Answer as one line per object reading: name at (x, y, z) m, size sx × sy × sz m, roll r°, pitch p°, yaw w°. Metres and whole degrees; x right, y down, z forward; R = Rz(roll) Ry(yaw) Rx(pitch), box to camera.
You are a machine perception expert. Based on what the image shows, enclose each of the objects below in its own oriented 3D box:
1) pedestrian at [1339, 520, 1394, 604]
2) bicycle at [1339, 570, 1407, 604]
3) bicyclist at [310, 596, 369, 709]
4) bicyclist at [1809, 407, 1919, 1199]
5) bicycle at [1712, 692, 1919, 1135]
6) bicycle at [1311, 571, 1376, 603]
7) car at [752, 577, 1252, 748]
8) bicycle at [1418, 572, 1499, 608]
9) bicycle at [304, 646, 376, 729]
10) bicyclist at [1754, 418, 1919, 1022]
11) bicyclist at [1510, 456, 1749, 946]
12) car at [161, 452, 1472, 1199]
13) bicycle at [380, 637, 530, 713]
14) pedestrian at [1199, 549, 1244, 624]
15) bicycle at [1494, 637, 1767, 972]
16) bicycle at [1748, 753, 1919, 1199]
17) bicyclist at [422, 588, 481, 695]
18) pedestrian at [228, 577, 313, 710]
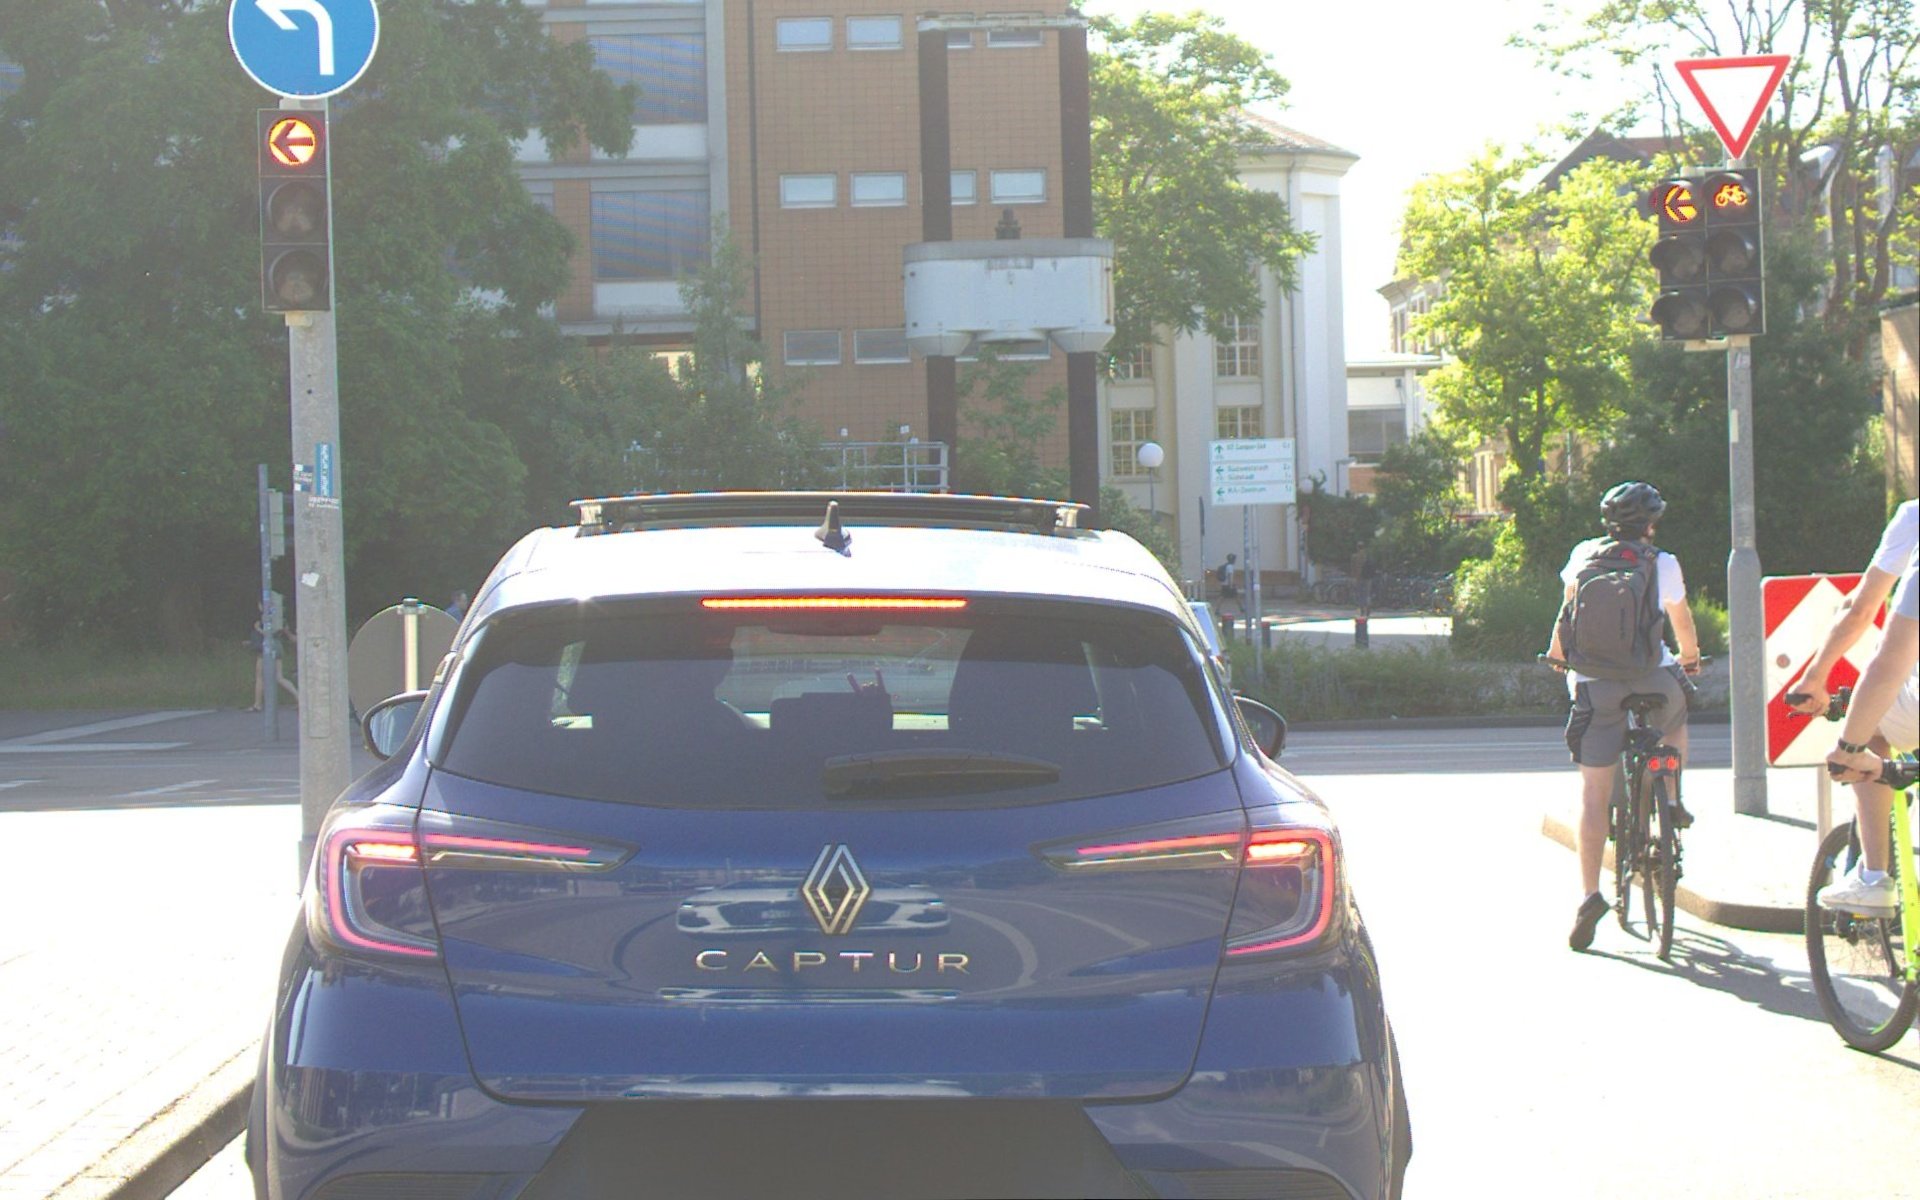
pedestrian at (9.895, -0.932, 83.686) m, size 1.156 × 2.007 × 1.164 m, roll -1°, pitch 1°, yaw 0°
bicycle at (11.398, -0.352, 94.848) m, size 1.771 × 0.895 × 0.765 m, roll -1°, pitch 1°, yaw 0°
bicyclist at (-7.919, 0.673, 43.869) m, size 0.647 × 1.407 × 0.639 m, roll -1°, pitch -2°, yaw -16°
bicyclist at (2.281, 0.437, 7.199) m, size 0.740 × 1.668 × 0.866 m, roll -1°, pitch 1°, yaw -2°
bicycle at (2.674, 0.822, 9.618) m, size 0.671 × 1.047 × 1.844 m, roll 1°, pitch 1°, yaw -2°
bicycle at (11.059, -0.383, 99.212) m, size 1.771 × 0.890 × 0.765 m, roll -1°, pitch 1°, yaw 0°
car at (0.478, 0.619, 34.858) m, size 4.865 × 1.588 × 1.938 m, roll -1°, pitch 1°, yaw 7°
bicycle at (12.029, -0.238, 83.046) m, size 1.770 × 0.820 × 0.766 m, roll -1°, pitch 1°, yaw -10°
bicycle at (-7.939, 1.123, 43.955) m, size 0.698 × 1.004 × 1.868 m, roll -2°, pitch -2°, yaw -16°
bicyclist at (2.687, 0.311, 9.533) m, size 0.674 × 1.577 × 1.081 m, roll 1°, pitch 1°, yaw -1°
bicyclist at (2.520, 0.366, 13.019) m, size 0.676 × 1.779 × 0.940 m, roll 1°, pitch 0°, yaw -2°
car at (-0.248, 0.592, 6.655) m, size 1.794 × 1.649 × 3.853 m, roll 0°, pitch 1°, yaw -2°
bicycle at (-6.741, 0.998, 45.935) m, size 1.865 × 0.955 × 0.623 m, roll -1°, pitch 1°, yaw 5°
pedestrian at (7.101, -0.368, 93.304) m, size 1.151 × 2.007 × 0.951 m, roll -1°, pitch 1°, yaw 6°
bicycle at (2.509, 0.732, 13.050) m, size 0.615 × 1.134 × 1.826 m, roll 0°, pitch 1°, yaw -2°
bicycle at (2.289, 0.901, 7.242) m, size 0.747 × 1.047 × 1.903 m, roll -1°, pitch 1°, yaw -2°
bicyclist at (-6.789, 0.550, 45.920) m, size 0.636 × 1.407 × 0.649 m, roll -1°, pitch 1°, yaw 3°
pedestrian at (-9.804, 0.609, 48.903) m, size 0.932 × 1.849 × 0.807 m, roll -1°, pitch 1°, yaw 9°
